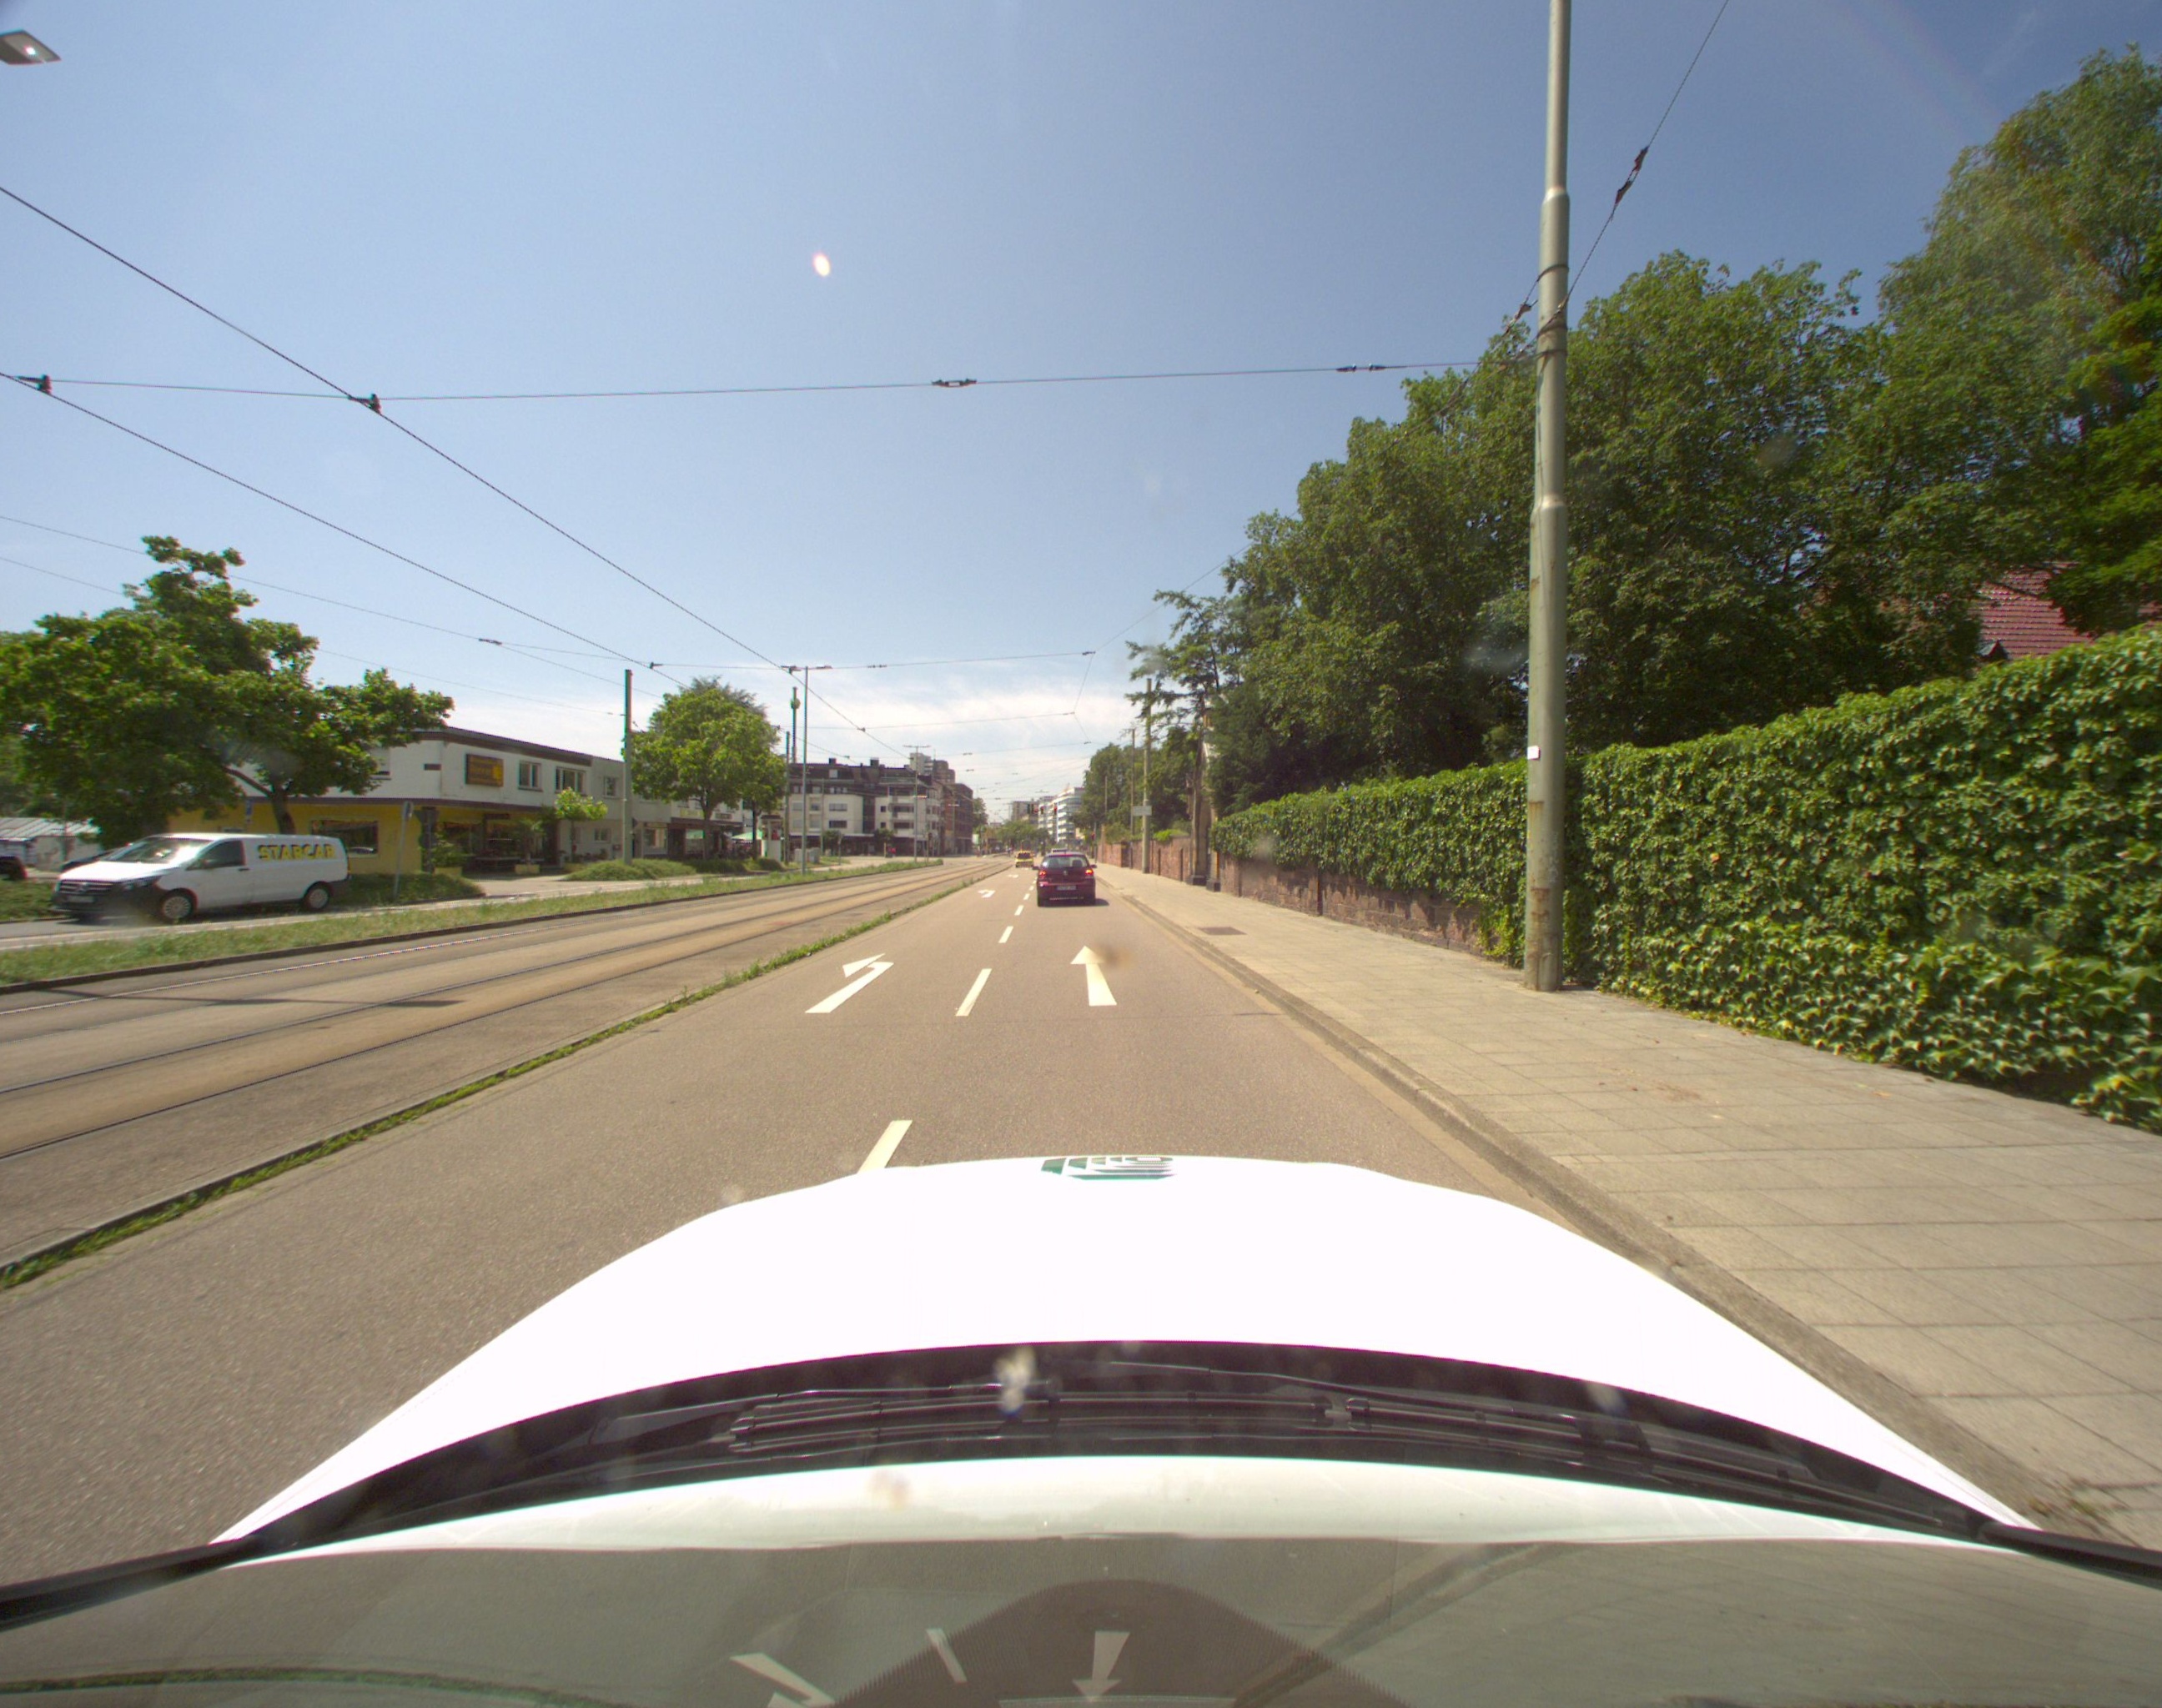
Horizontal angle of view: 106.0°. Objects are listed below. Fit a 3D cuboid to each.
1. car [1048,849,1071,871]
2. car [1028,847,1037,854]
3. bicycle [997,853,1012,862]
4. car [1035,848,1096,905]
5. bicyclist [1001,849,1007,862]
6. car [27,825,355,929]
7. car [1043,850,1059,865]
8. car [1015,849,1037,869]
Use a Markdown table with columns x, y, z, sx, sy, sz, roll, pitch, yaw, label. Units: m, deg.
| x | y | z | sx | sy | sz | roll | pitch | yaw | label |
| --- | --- | --- | --- | --- | --- | --- | --- | --- | --- |
| -1.803 | 0.480 | 68.605 | 1.790 | 1.683 | 3.998 | 1 | 0 | -2 | car |
| -8.333 | -0.616 | 140.303 | 1.350 | 1.252 | 2.970 | 1 | 0 | -2 | car |
| -12.960 | 0.595 | 137.454 | 2.514 | 1.419 | 0.634 | 0 | 0 | -16 | bicycle |
| -0.517 | 0.591 | 23.590 | 1.606 | 1.498 | 3.995 | -1 | 0 | -4 | car |
| -13.040 | 0.230 | 137.432 | 0.958 | 2.091 | 0.848 | 0 | 0 | -15 | bicyclist |
| -20.046 | 0.448 | 18.827 | 1.870 | 1.965 | 5.161 | 4 | 0 | -2 | car |
| -3.484 | 0.366 | 95.613 | 1.769 | 1.630 | 3.999 | 1 | 0 | -1 | car |
| -4.988 | 0.455 | 74.465 | 1.790 | 1.683 | 3.998 | 1 | 0 | -2 | car |
